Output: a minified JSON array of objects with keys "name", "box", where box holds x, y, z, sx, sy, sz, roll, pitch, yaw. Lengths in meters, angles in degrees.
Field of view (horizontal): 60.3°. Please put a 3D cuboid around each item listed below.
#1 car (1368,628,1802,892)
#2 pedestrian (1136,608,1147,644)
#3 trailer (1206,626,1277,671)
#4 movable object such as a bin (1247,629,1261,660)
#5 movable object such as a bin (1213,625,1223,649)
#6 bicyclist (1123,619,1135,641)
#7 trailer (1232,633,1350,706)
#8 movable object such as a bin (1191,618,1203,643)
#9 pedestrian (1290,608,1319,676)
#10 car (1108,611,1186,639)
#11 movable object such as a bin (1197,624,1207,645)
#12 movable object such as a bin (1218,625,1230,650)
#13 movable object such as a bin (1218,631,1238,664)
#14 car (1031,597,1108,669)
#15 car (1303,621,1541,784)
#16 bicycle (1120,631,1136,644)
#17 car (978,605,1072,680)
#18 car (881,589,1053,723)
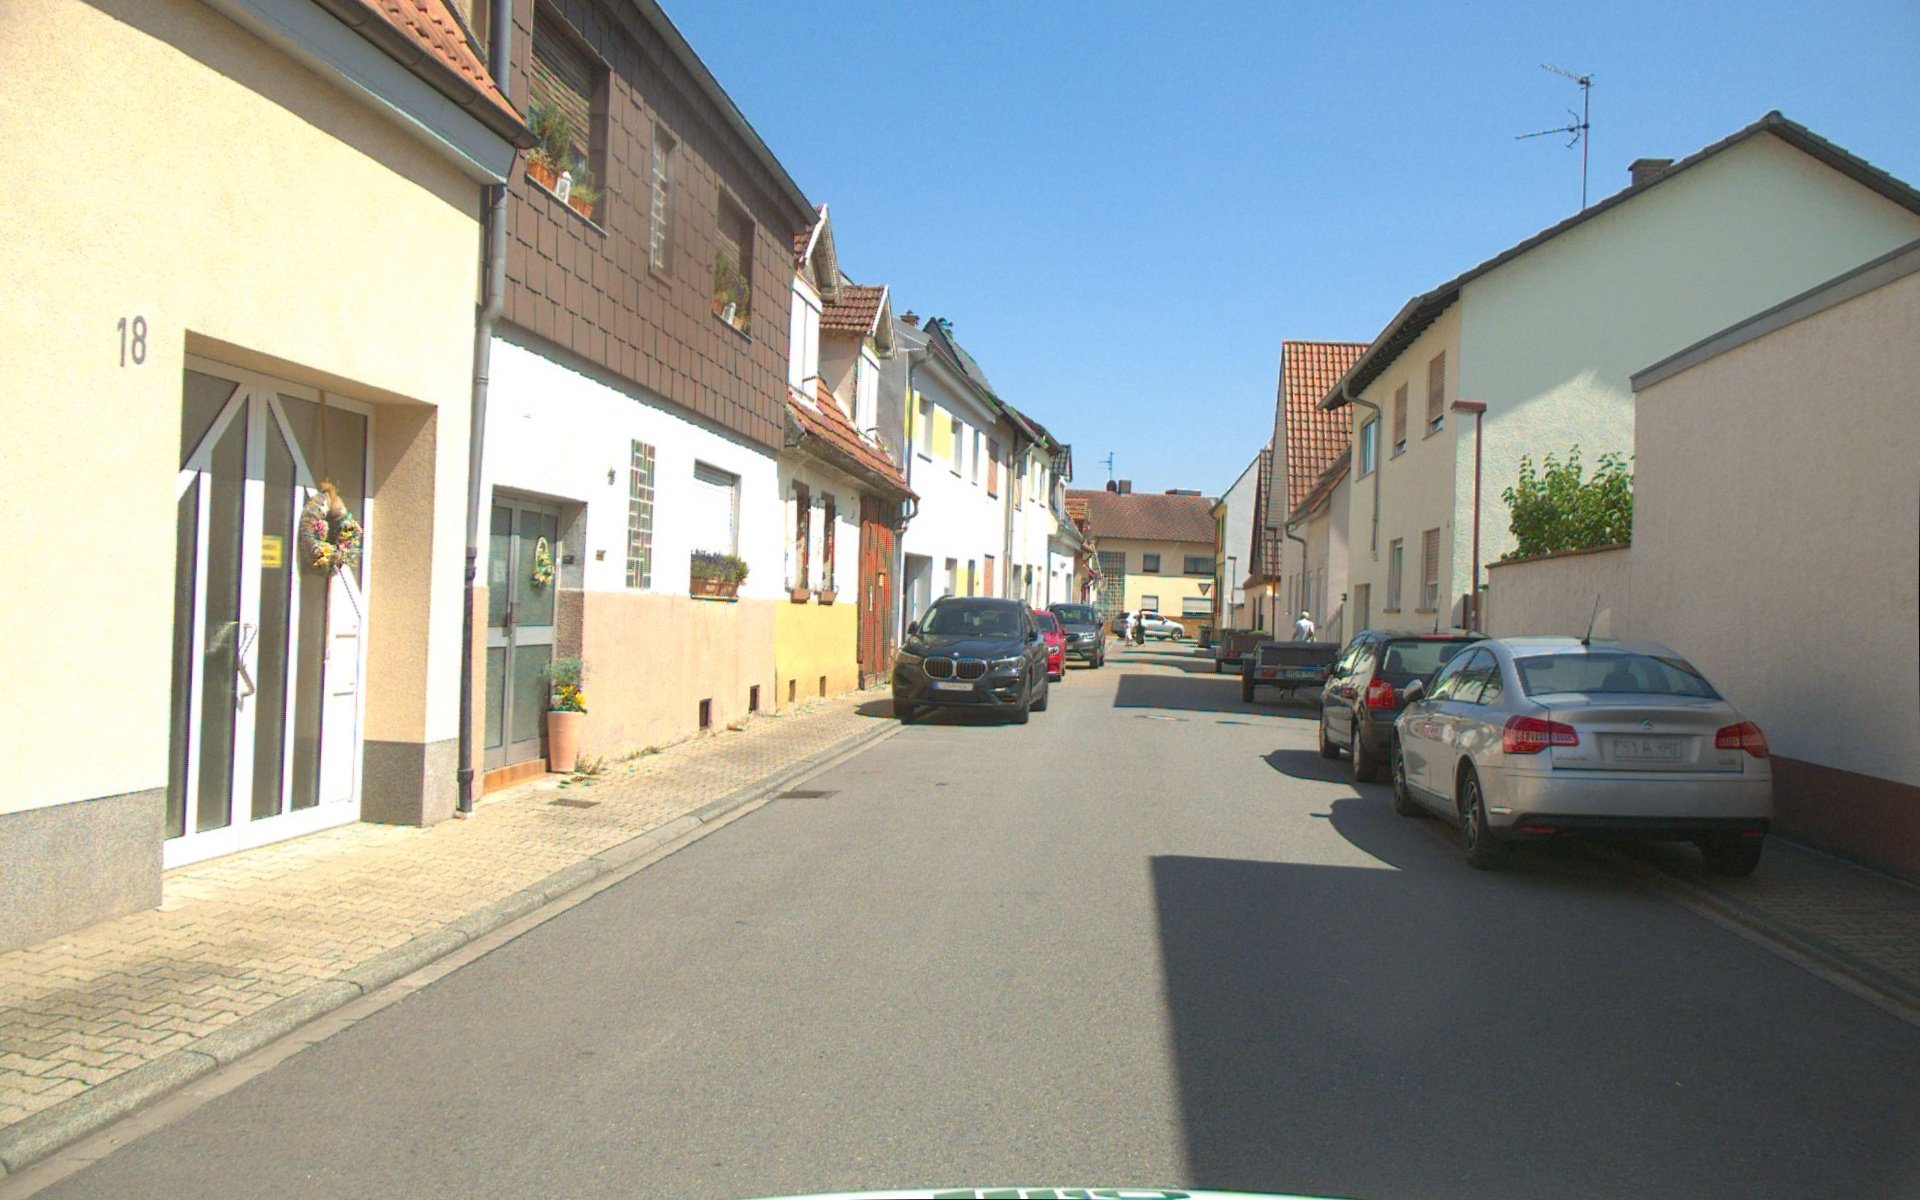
[{"name":"car","box":[4.256,0.971,12.147,1.753,1.507,4.936,0,-1,6]},{"name":"pedestrian","box":[8.322,1.210,75.890,0.403,1.638,0.368,2,-1,-3]},{"name":"trailer","box":[7.482,1.276,44.206,1.663,1.051,3.483,2,0,7]},{"name":"movable object such as a bin","box":[10.762,1.622,60.570,0.448,1.106,0.502,1,-1,6]},{"name":"movable object such as a bin","box":[12.251,1.749,78.410,0.416,1.147,0.414,1,-1,4]},{"name":"bicyclist","box":[7.753,1.370,75.968,0.453,0.976,0.350,1,-2,-14]},{"name":"trailer","box":[5.820,1.194,29.398,1.779,1.109,3.483,2,0,7]},{"name":"movable object such as a bin","box":[11.419,1.473,79.691,0.557,1.147,0.454,1,-1,4]},{"name":"pedestrian","box":[8.233,1.004,39.588,0.583,1.592,0.557,2,-4,4]},{"name":"car","box":[11.845,1.592,104.859,4.687,1.613,1.788,2,-1,-24]},{"name":"movable object such as a bin","box":[11.547,1.628,79.061,0.415,0.992,0.473,1,-1,4]},{"name":"movable object such as a bin","box":[12.096,1.718,75.843,0.514,1.147,0.366,1,-1,4]},{"name":"movable object such as a bin","box":[8.790,1.566,54.283,0.572,1.051,0.596,1,-1,6]},{"name":"car","box":[2.892,0.841,42.989,1.762,1.734,4.490,1,-1,7]},{"name":"car","box":[4.712,0.976,17.413,1.614,1.461,4.136,1,-1,4]},{"name":"bicycle","box":[7.724,1.721,75.998,0.433,0.577,0.936,2,0,-14]},{"name":"car","box":[1.450,0.879,35.340,1.762,1.466,4.490,1,-1,5]},{"name":"car","box":[0.216,0.718,22.706,1.761,1.601,4.618,1,-1,7]}]
